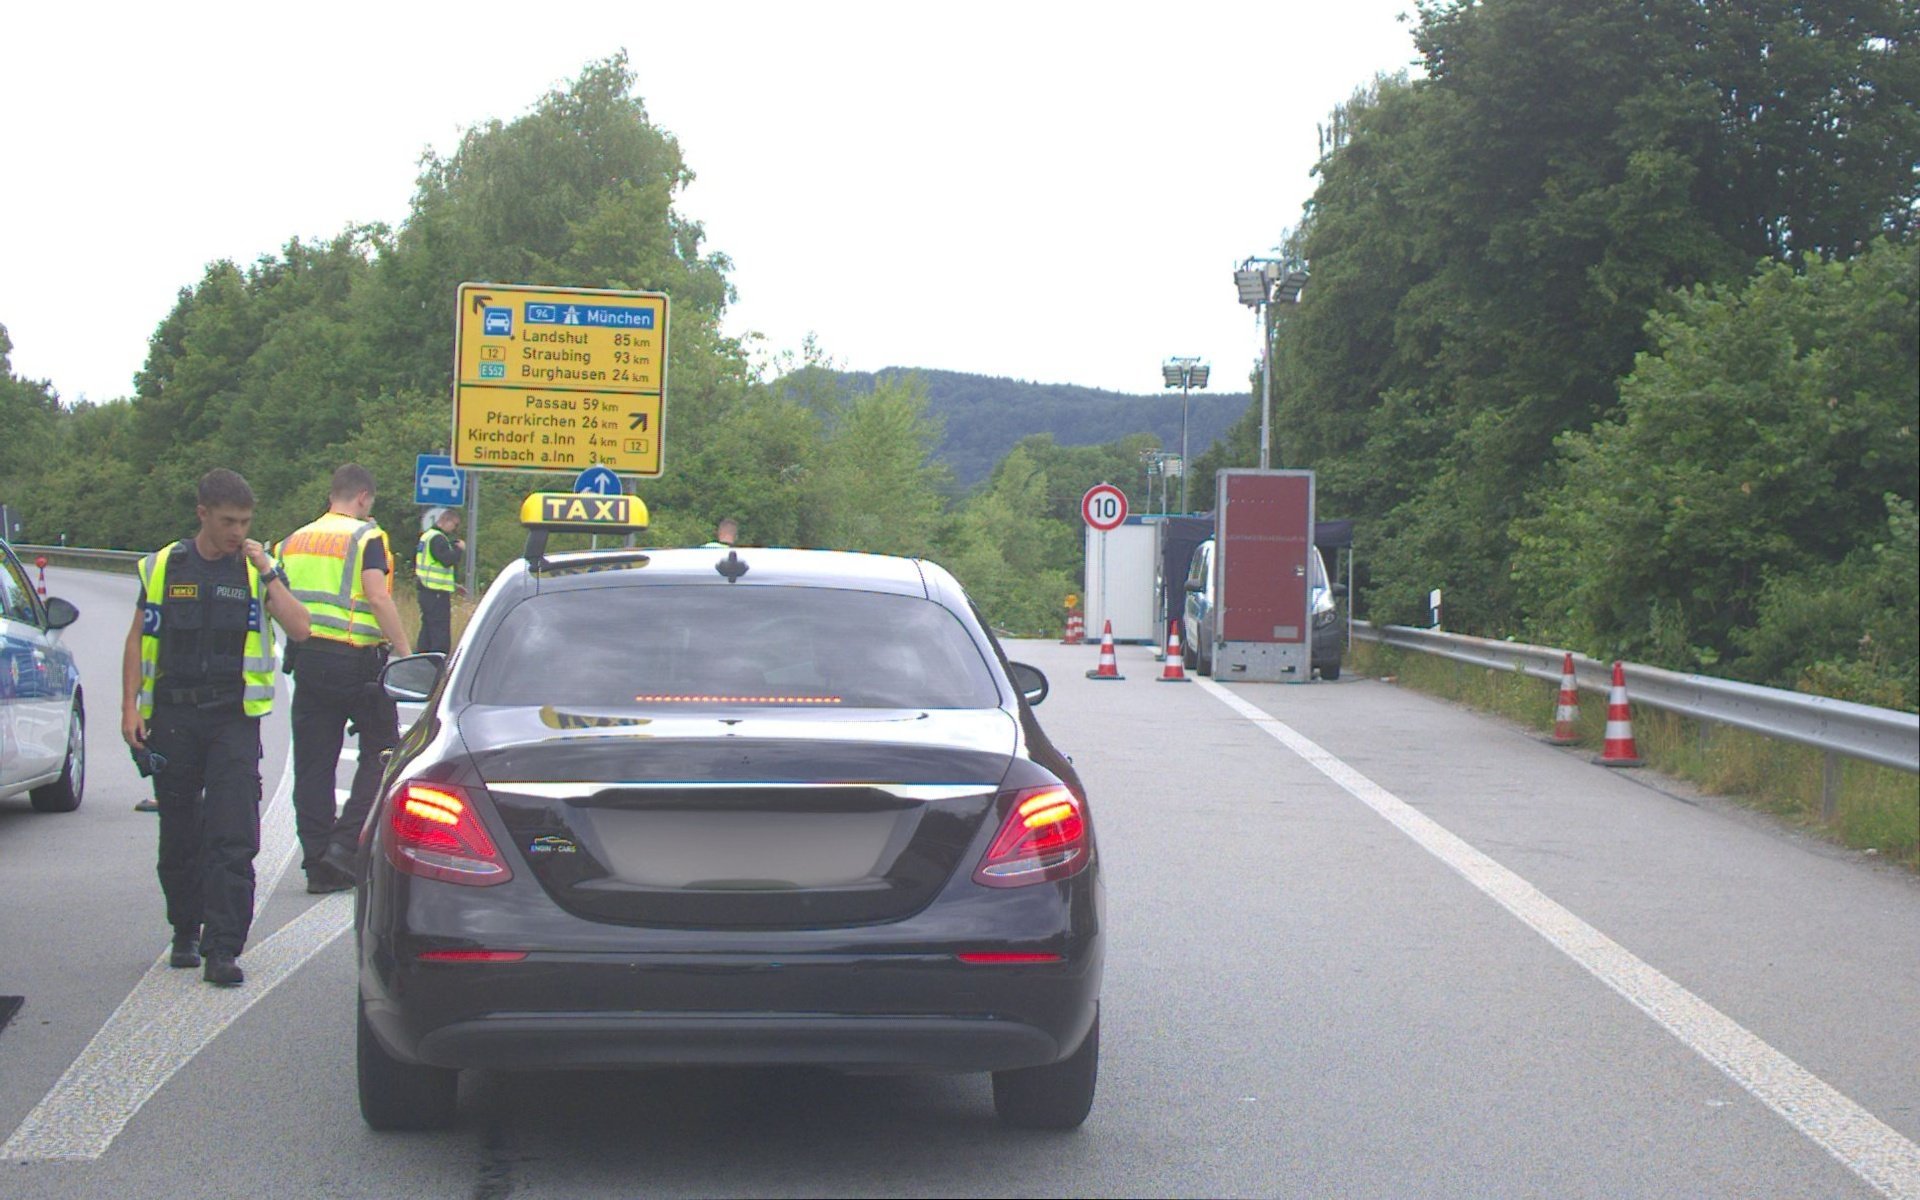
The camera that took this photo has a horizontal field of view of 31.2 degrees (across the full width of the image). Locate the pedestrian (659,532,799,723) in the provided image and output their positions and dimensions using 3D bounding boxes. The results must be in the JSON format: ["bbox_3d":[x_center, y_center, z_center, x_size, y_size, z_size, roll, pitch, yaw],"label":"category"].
[{"bbox_3d":[-2.089,0.242,31.060,0.908,1.692,0.914,1,1,-32],"label":"pedestrian"}]

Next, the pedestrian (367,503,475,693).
[{"bbox_3d":[-5.087,-0.027,32.492,0.910,1.763,0.912,1,1,-4],"label":"pedestrian"}]

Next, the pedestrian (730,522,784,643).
[{"bbox_3d":[-3.319,-0.289,56.243,0.664,1.954,0.759,0,1,15],"label":"pedestrian"}]

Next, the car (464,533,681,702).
[{"bbox_3d":[-3.636,0.118,32.884,1.855,1.493,4.257,1,1,-4],"label":"car"}]

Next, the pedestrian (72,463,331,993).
[{"bbox_3d":[-2.532,0.410,11.552,0.760,1.712,0.818,0,1,-6],"label":"pedestrian"}]

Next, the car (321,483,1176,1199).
[{"bbox_3d":[-0.671,0.510,9.708,1.855,1.589,4.376,1,1,-6],"label":"car"}]

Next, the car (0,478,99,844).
[{"bbox_3d":[-5.552,0.268,17.031,1.868,1.737,4.009,1,1,-5],"label":"car"}]

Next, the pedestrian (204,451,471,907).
[{"bbox_3d":[-2.573,0.309,14.260,0.813,1.824,0.809,1,1,16],"label":"pedestrian"}]

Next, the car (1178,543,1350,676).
[{"bbox_3d":[4.174,0.079,47.964,1.916,1.672,5.083,3,1,0],"label":"car"}]

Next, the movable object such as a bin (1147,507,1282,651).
[{"bbox_3d":[4.162,-0.366,56.802,1.993,2.272,4.168,1,1,1],"label":"movable object such as a bin"}]
